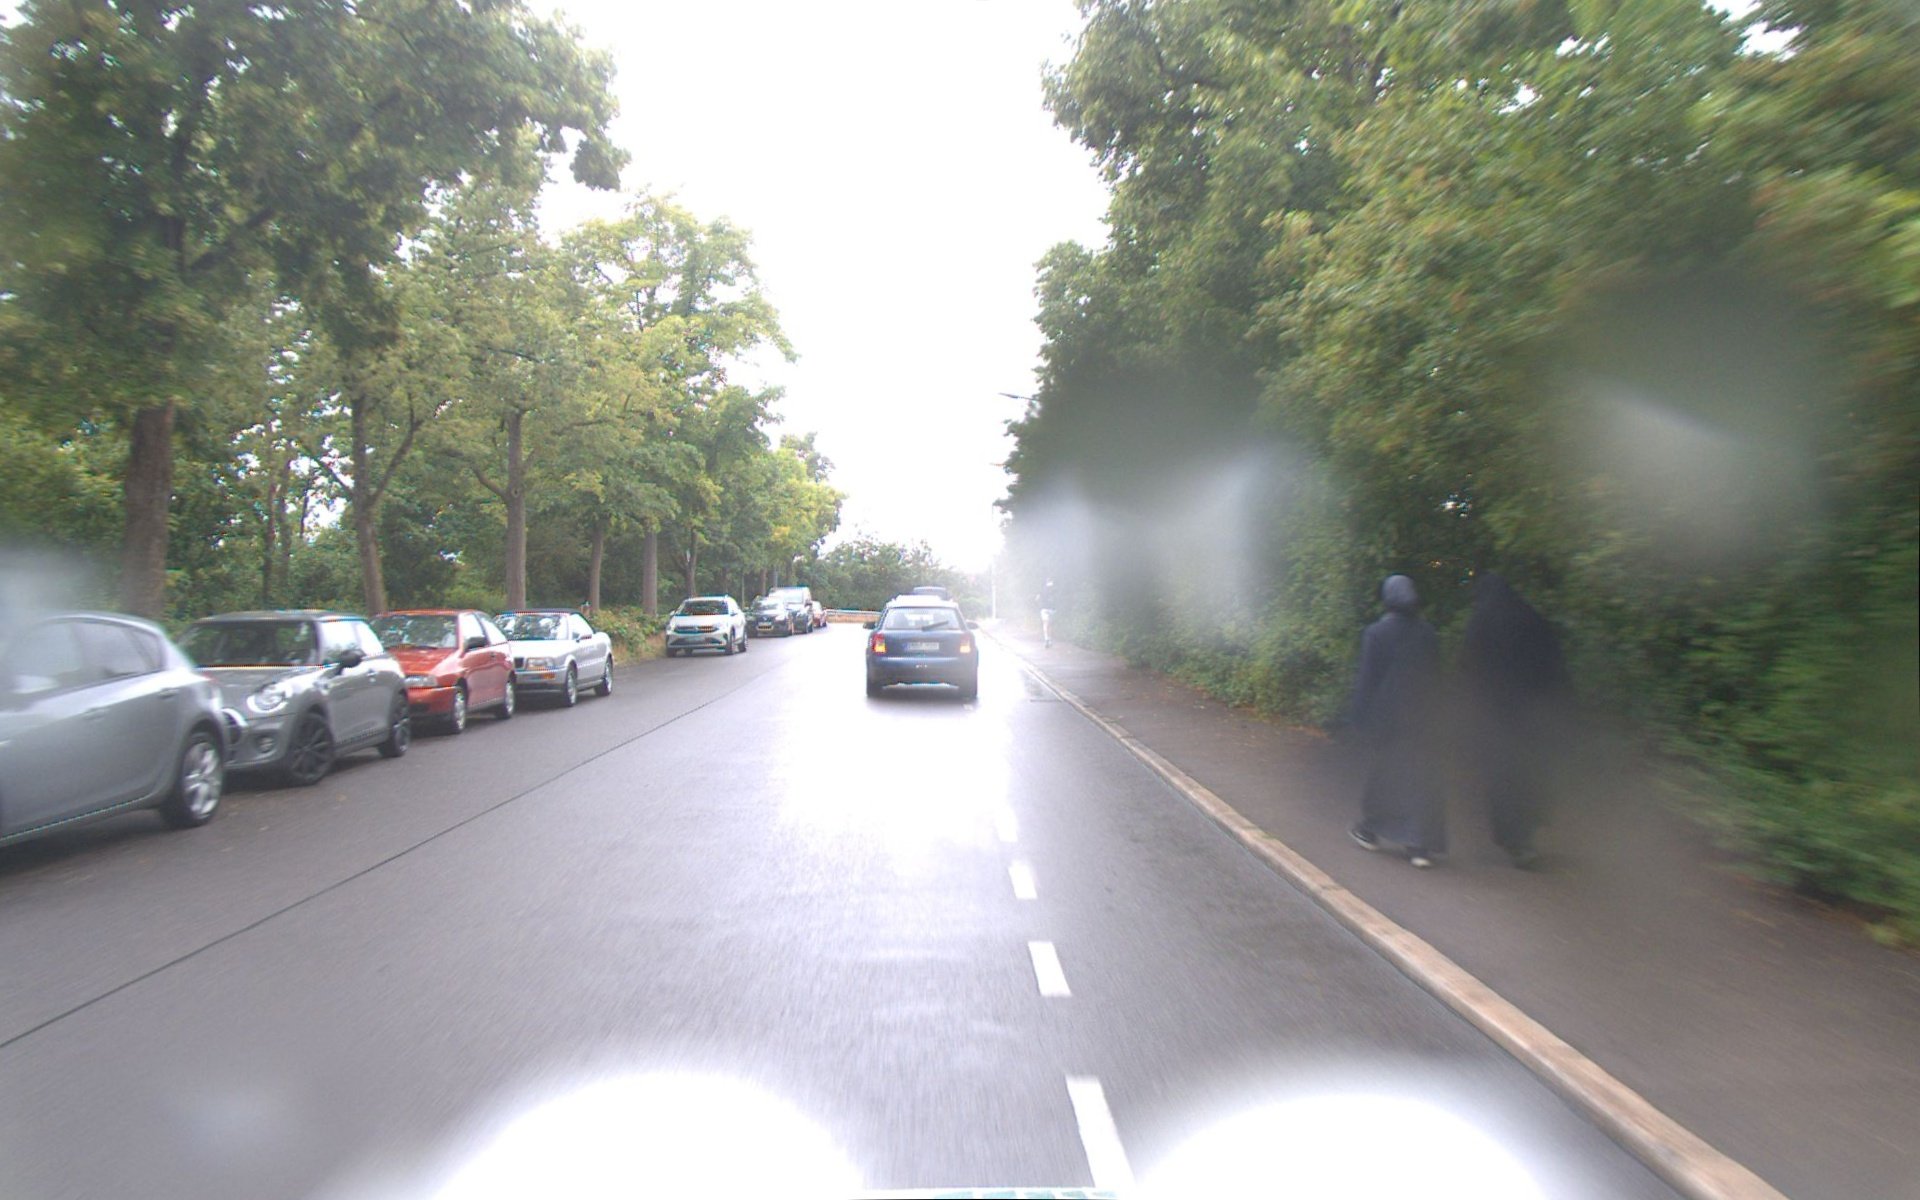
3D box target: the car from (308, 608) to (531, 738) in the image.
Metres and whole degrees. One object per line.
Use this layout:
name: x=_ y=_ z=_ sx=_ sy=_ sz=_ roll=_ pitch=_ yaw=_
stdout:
car: x=-6.399 y=0.807 z=20.015 sx=1.563 sy=1.386 sz=3.998 roll=-1 pitch=0 yaw=-3

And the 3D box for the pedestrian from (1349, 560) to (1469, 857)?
pedestrian: x=2.483 y=0.587 z=9.187 sx=0.540 sy=1.594 sz=0.487 roll=-2 pitch=0 yaw=8

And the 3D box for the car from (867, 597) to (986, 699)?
car: x=-0.552 y=0.701 z=26.095 sx=1.712 sy=1.432 sz=3.999 roll=1 pitch=1 yaw=-2

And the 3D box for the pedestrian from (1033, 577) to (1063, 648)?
pedestrian: x=2.388 y=0.337 z=44.871 sx=0.702 sy=1.867 sz=1.021 roll=-2 pitch=0 yaw=1

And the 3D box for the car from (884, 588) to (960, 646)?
car: x=-0.935 y=0.430 z=42.986 sx=1.852 sy=1.413 sz=4.000 roll=-1 pitch=0 yaw=0

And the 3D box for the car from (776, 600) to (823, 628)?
car: x=-7.797 y=0.669 z=80.758 sx=1.752 sy=1.319 sz=4.326 roll=-1 pitch=0 yaw=1

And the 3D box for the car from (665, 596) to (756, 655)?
car: x=-6.574 y=0.647 z=43.953 sx=1.654 sy=1.462 sz=4.256 roll=-1 pitch=0 yaw=1

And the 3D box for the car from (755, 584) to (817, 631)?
car: x=-7.274 y=0.323 z=69.696 sx=2.041 sy=1.851 sz=5.380 roll=-1 pitch=0 yaw=0

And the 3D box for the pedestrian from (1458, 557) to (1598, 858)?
pedestrian: x=3.109 y=0.566 z=9.101 sx=0.583 sy=1.594 sz=0.669 roll=0 pitch=0 yaw=6

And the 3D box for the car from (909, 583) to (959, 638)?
car: x=-1.004 y=0.368 z=61.825 sx=1.753 sy=1.987 sz=3.998 roll=-1 pitch=0 yaw=-3

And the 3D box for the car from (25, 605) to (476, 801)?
car: x=-6.150 y=0.803 z=15.079 sx=1.952 sy=1.429 sz=4.714 roll=-2 pitch=0 yaw=1

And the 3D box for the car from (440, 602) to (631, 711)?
car: x=-6.154 y=0.770 z=24.473 sx=1.719 sy=1.427 sz=4.418 roll=-1 pitch=0 yaw=-1

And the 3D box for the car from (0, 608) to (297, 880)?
car: x=-6.005 y=0.801 z=10.014 sx=1.952 sy=1.429 sz=4.714 roll=-2 pitch=0 yaw=1

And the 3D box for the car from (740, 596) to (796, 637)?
car: x=-7.352 y=0.632 z=63.715 sx=1.761 sy=1.462 sz=4.254 roll=-1 pitch=0 yaw=-2
